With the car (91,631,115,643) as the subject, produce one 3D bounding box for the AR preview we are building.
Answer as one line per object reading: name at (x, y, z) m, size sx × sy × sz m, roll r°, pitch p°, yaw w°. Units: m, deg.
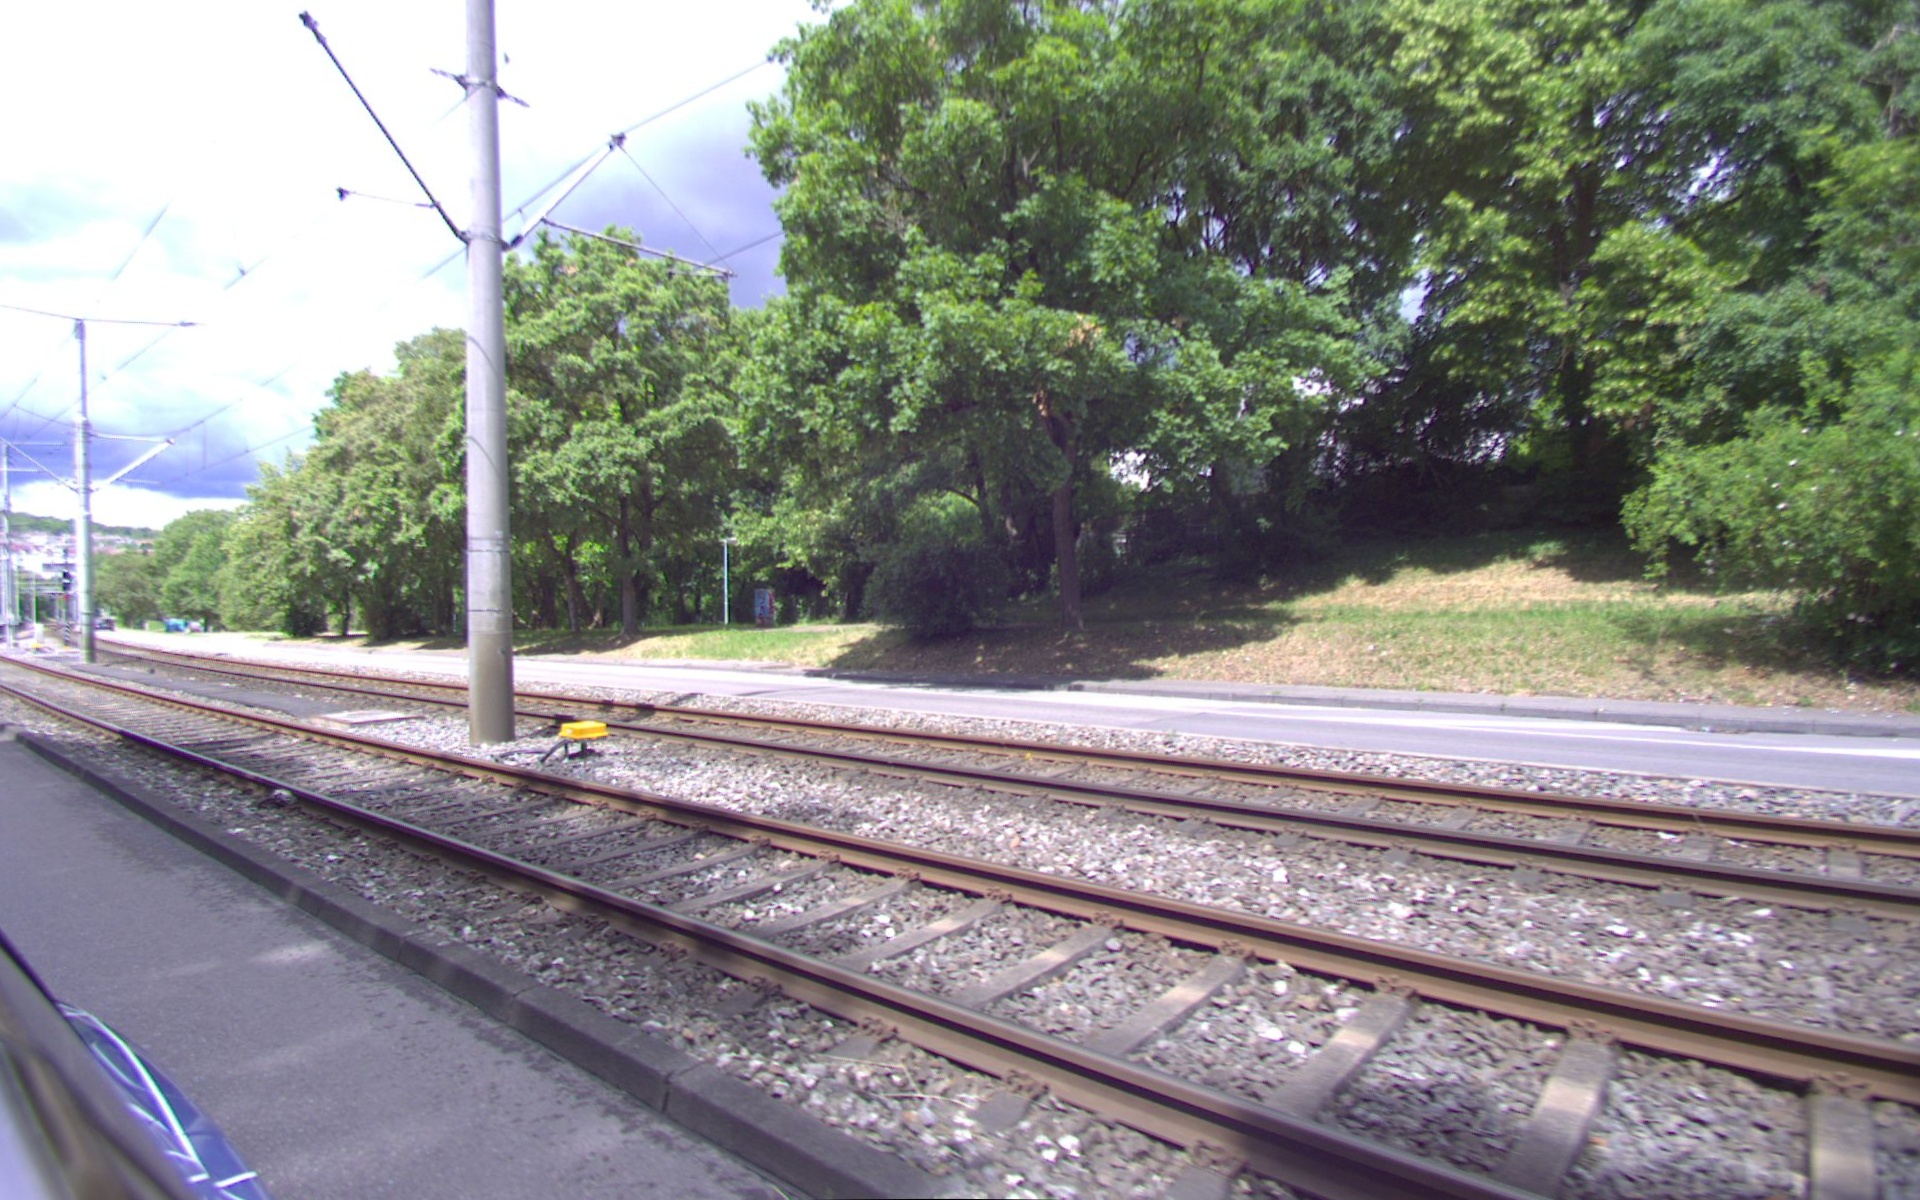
car at (-101.333, 4.329, 119.646) m, size 1.814 × 1.402 × 4.864 m, roll 2°, pitch -3°, yaw -45°
